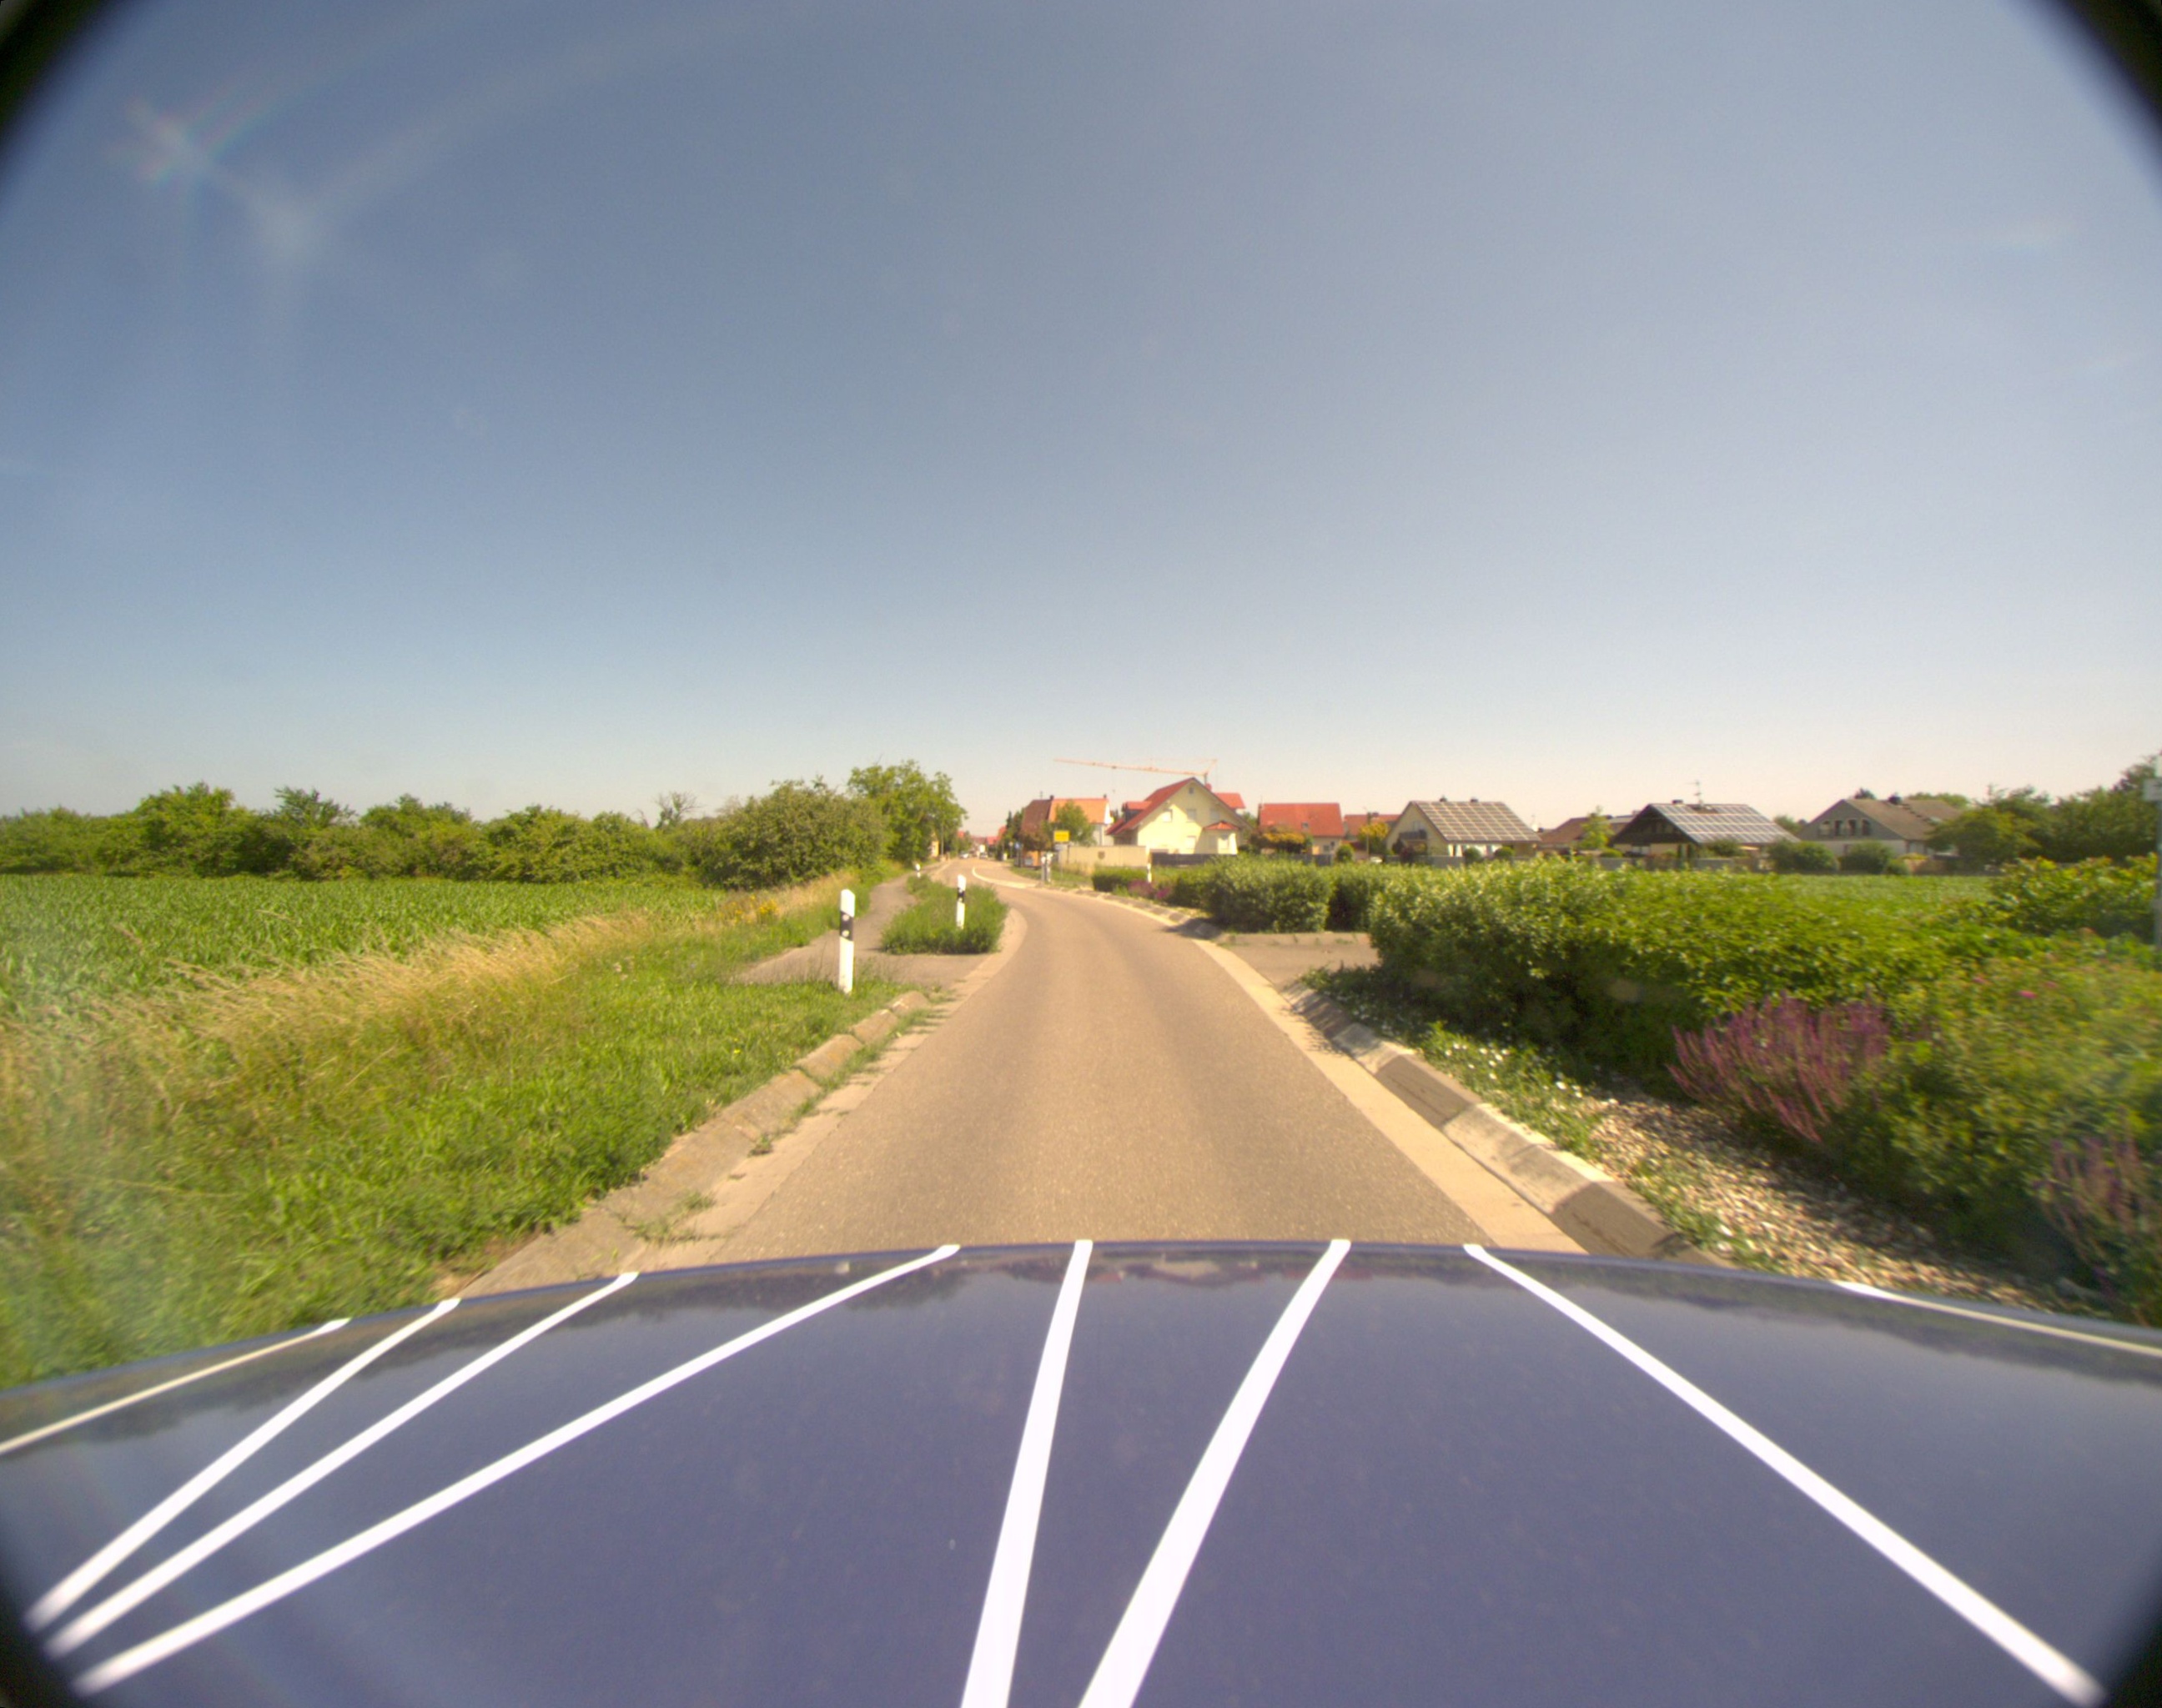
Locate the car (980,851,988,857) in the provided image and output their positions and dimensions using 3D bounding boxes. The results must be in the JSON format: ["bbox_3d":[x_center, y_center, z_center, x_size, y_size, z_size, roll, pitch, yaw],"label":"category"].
[{"bbox_3d":[-20.870,0.041,163.237,1.734,1.380,3.529,0,0,-8],"label":"car"}]

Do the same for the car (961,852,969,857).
[{"bbox_3d":[-27.657,0.107,181.575,1.734,1.380,3.529,0,0,-8],"label":"car"}]
